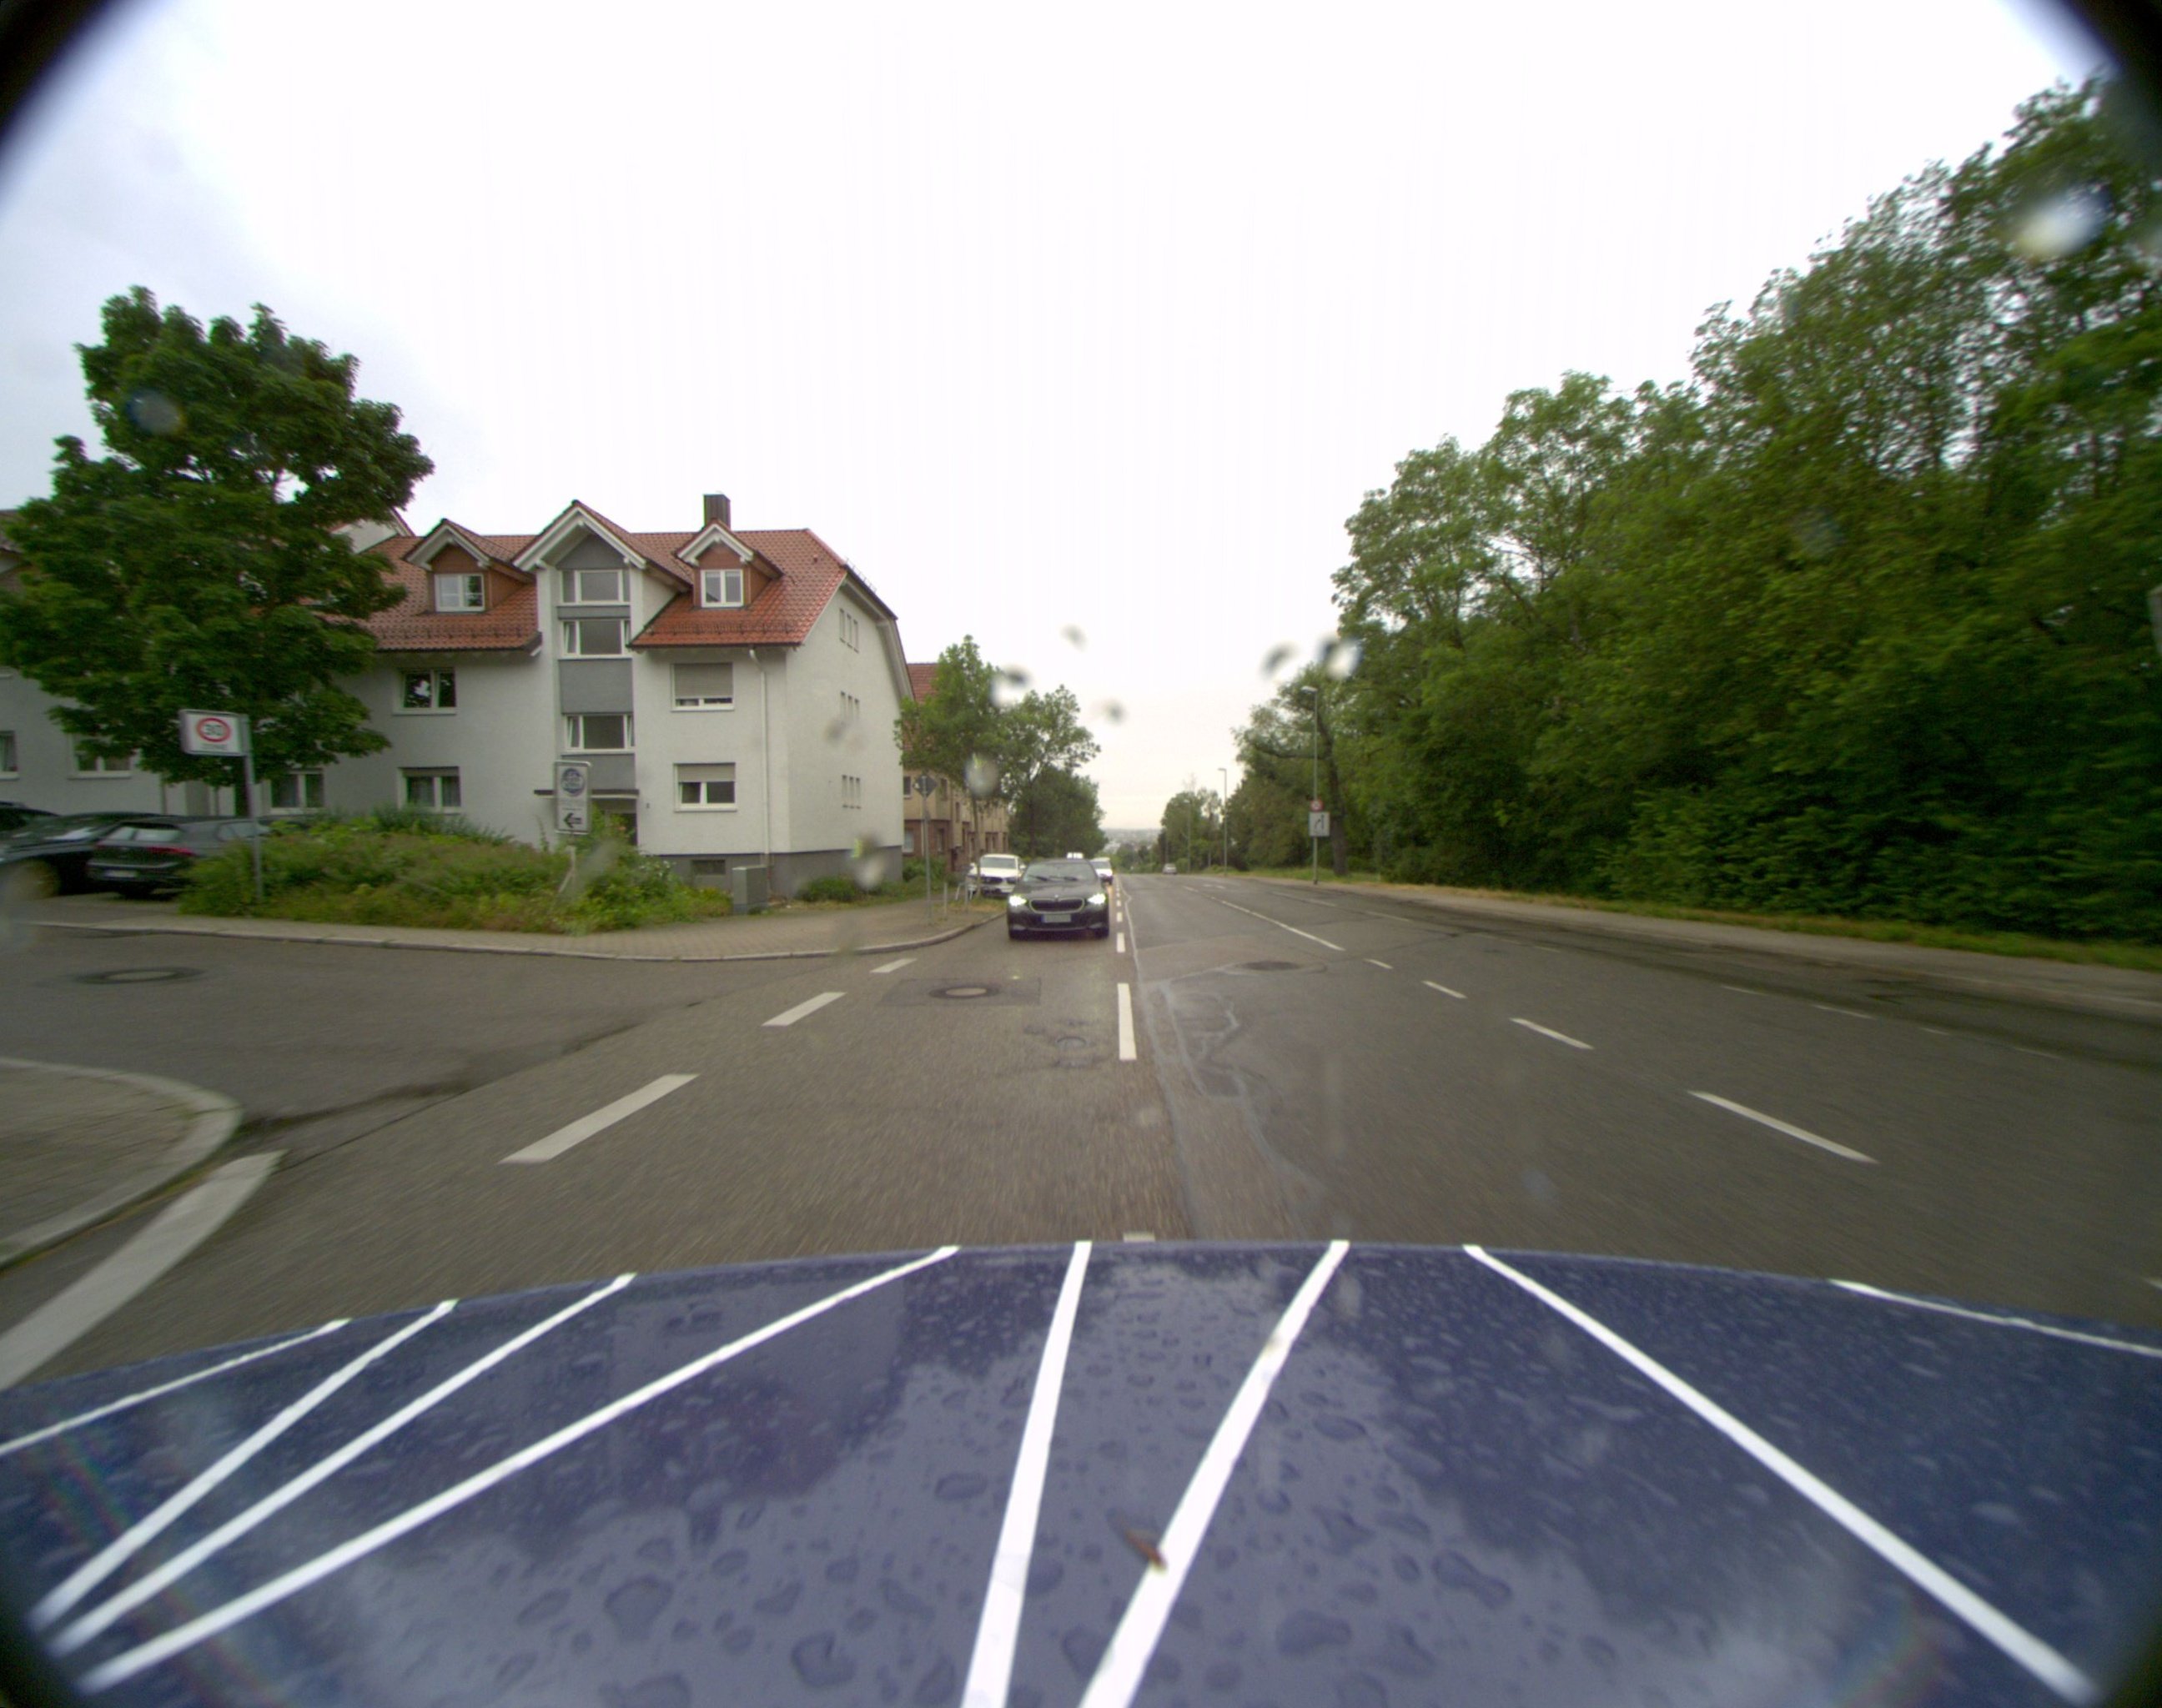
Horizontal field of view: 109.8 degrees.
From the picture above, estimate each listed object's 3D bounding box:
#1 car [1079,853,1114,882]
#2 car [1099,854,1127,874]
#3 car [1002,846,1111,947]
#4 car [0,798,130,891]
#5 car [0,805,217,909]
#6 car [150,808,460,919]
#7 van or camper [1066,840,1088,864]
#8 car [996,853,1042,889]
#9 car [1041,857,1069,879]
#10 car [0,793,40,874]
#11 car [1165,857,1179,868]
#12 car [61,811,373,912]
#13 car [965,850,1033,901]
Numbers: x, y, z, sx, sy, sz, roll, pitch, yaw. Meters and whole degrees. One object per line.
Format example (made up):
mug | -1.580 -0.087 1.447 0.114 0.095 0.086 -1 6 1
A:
car | 0.952 0.787 46.034 1.998 1.674 4.174 -1 0 1
car | 2.770 0.870 65.983 1.999 1.674 4.173 -1 0 -3
car | -0.376 0.767 15.491 1.828 1.668 4.296 -3 0 2
car | -20.505 -0.176 13.810 1.648 1.625 3.672 3 4 4
car | -18.139 -0.018 13.361 1.598 1.625 3.623 3 3 4
car | -13.676 0.155 13.739 1.684 1.674 3.675 2 0 4
van or camper | -0.410 -0.161 87.967 2.203 2.635 7.303 0 0 3
car | -2.704 0.704 33.989 1.645 1.440 3.998 -1 1 1
car | -2.049 1.074 60.342 1.705 1.575 4.644 2 0 3
car | -23.361 -0.381 14.476 1.649 1.675 3.899 2 3 0
car | 12.718 1.219 106.426 1.693 1.474 4.452 0 1 3
car | -15.881 0.032 14.290 1.648 1.575 3.599 3 3 3
car | -3.029 0.744 28.913 1.828 1.762 4.541 -1 0 3
